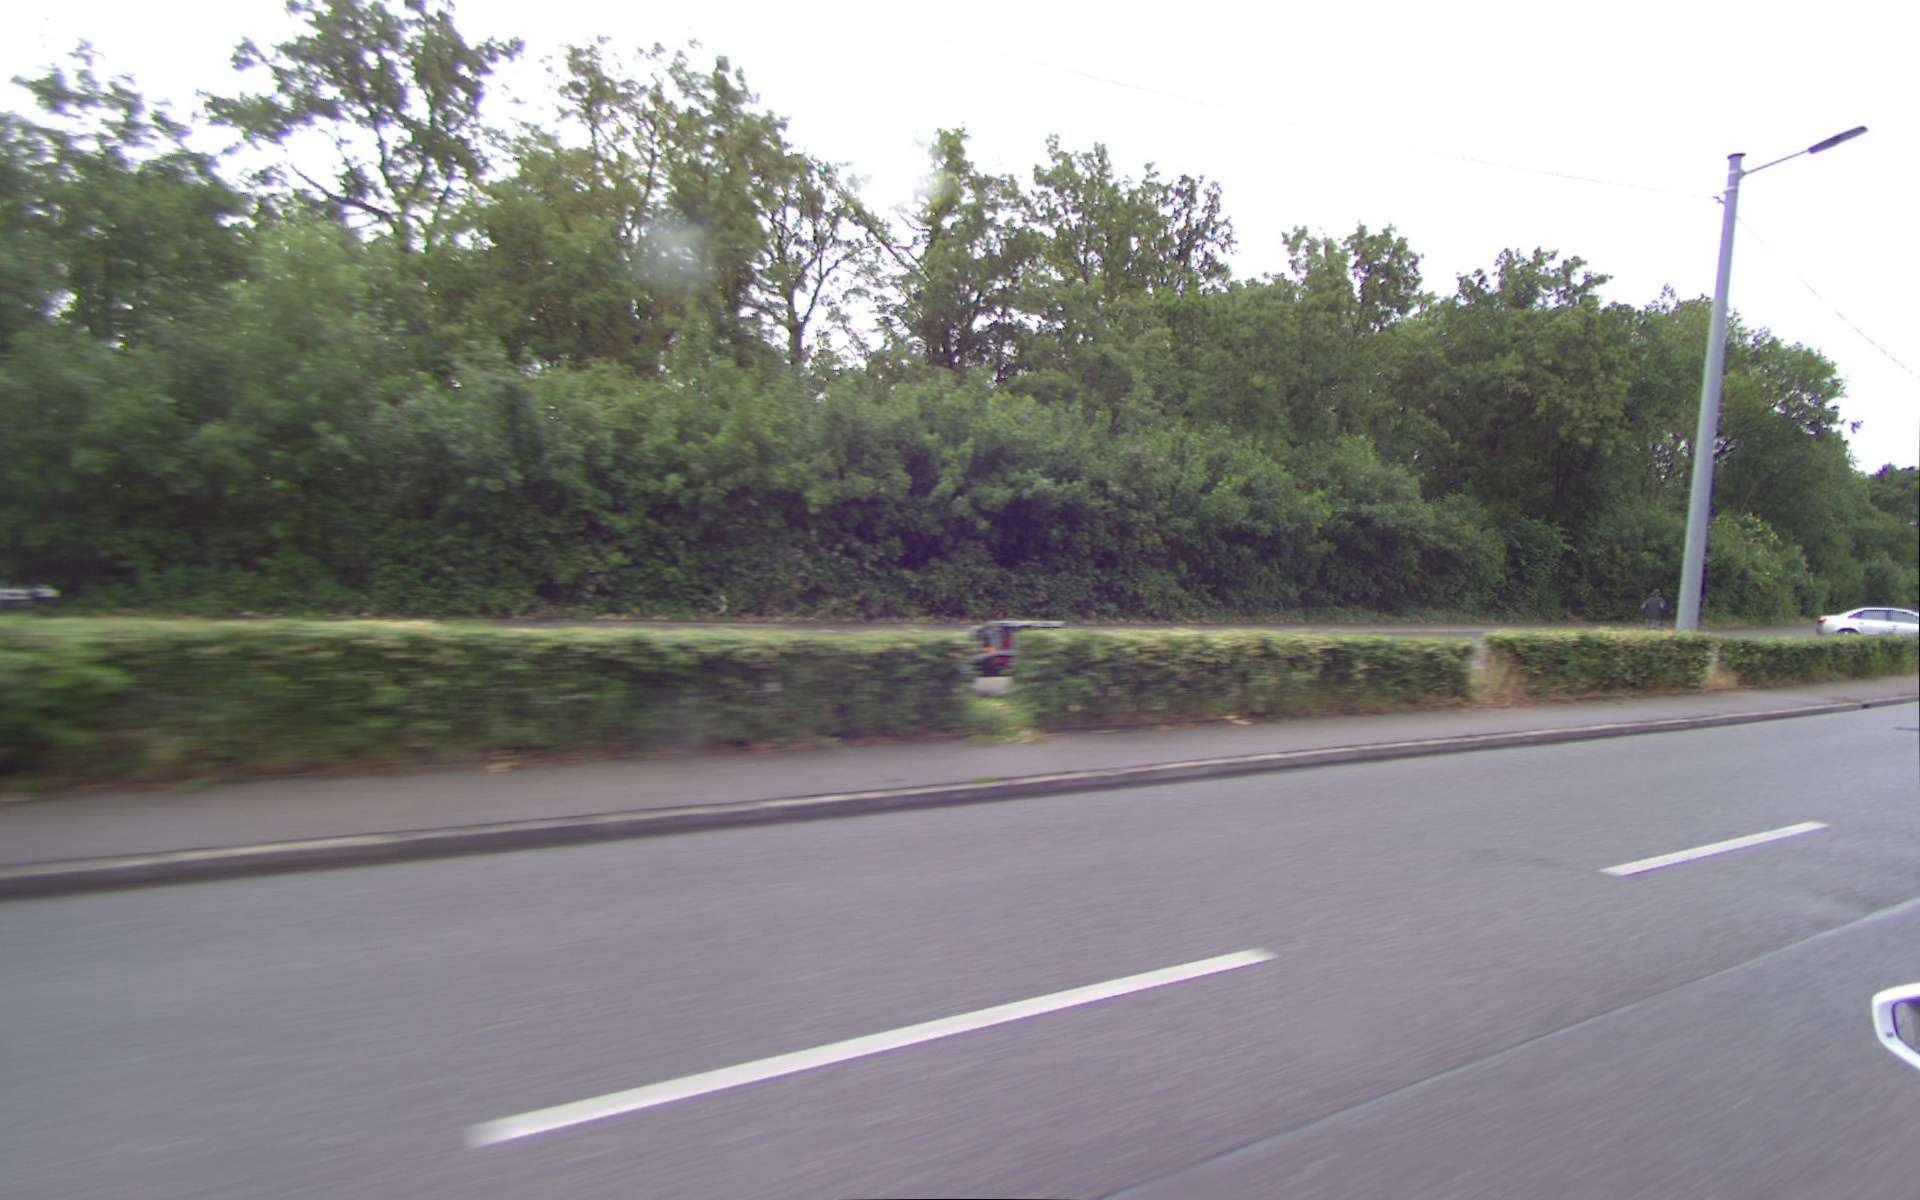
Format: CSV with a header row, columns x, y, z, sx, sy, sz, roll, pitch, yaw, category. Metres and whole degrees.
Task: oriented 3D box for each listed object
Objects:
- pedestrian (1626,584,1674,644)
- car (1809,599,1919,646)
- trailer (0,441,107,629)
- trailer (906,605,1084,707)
x,y,z,sx,sy,sz,roll,pitch,yaw,category
21.588,0.422,31.427,1.123,1.822,0.812,1,2,-32,pedestrian
33.750,0.833,36.220,1.986,1.526,4.532,0,2,-43,car
-18.192,-1.099,15.046,7.887,2.912,2.462,1,1,-32,trailer
0.388,0.626,12.066,1.320,1.048,1.789,1,1,-34,trailer
